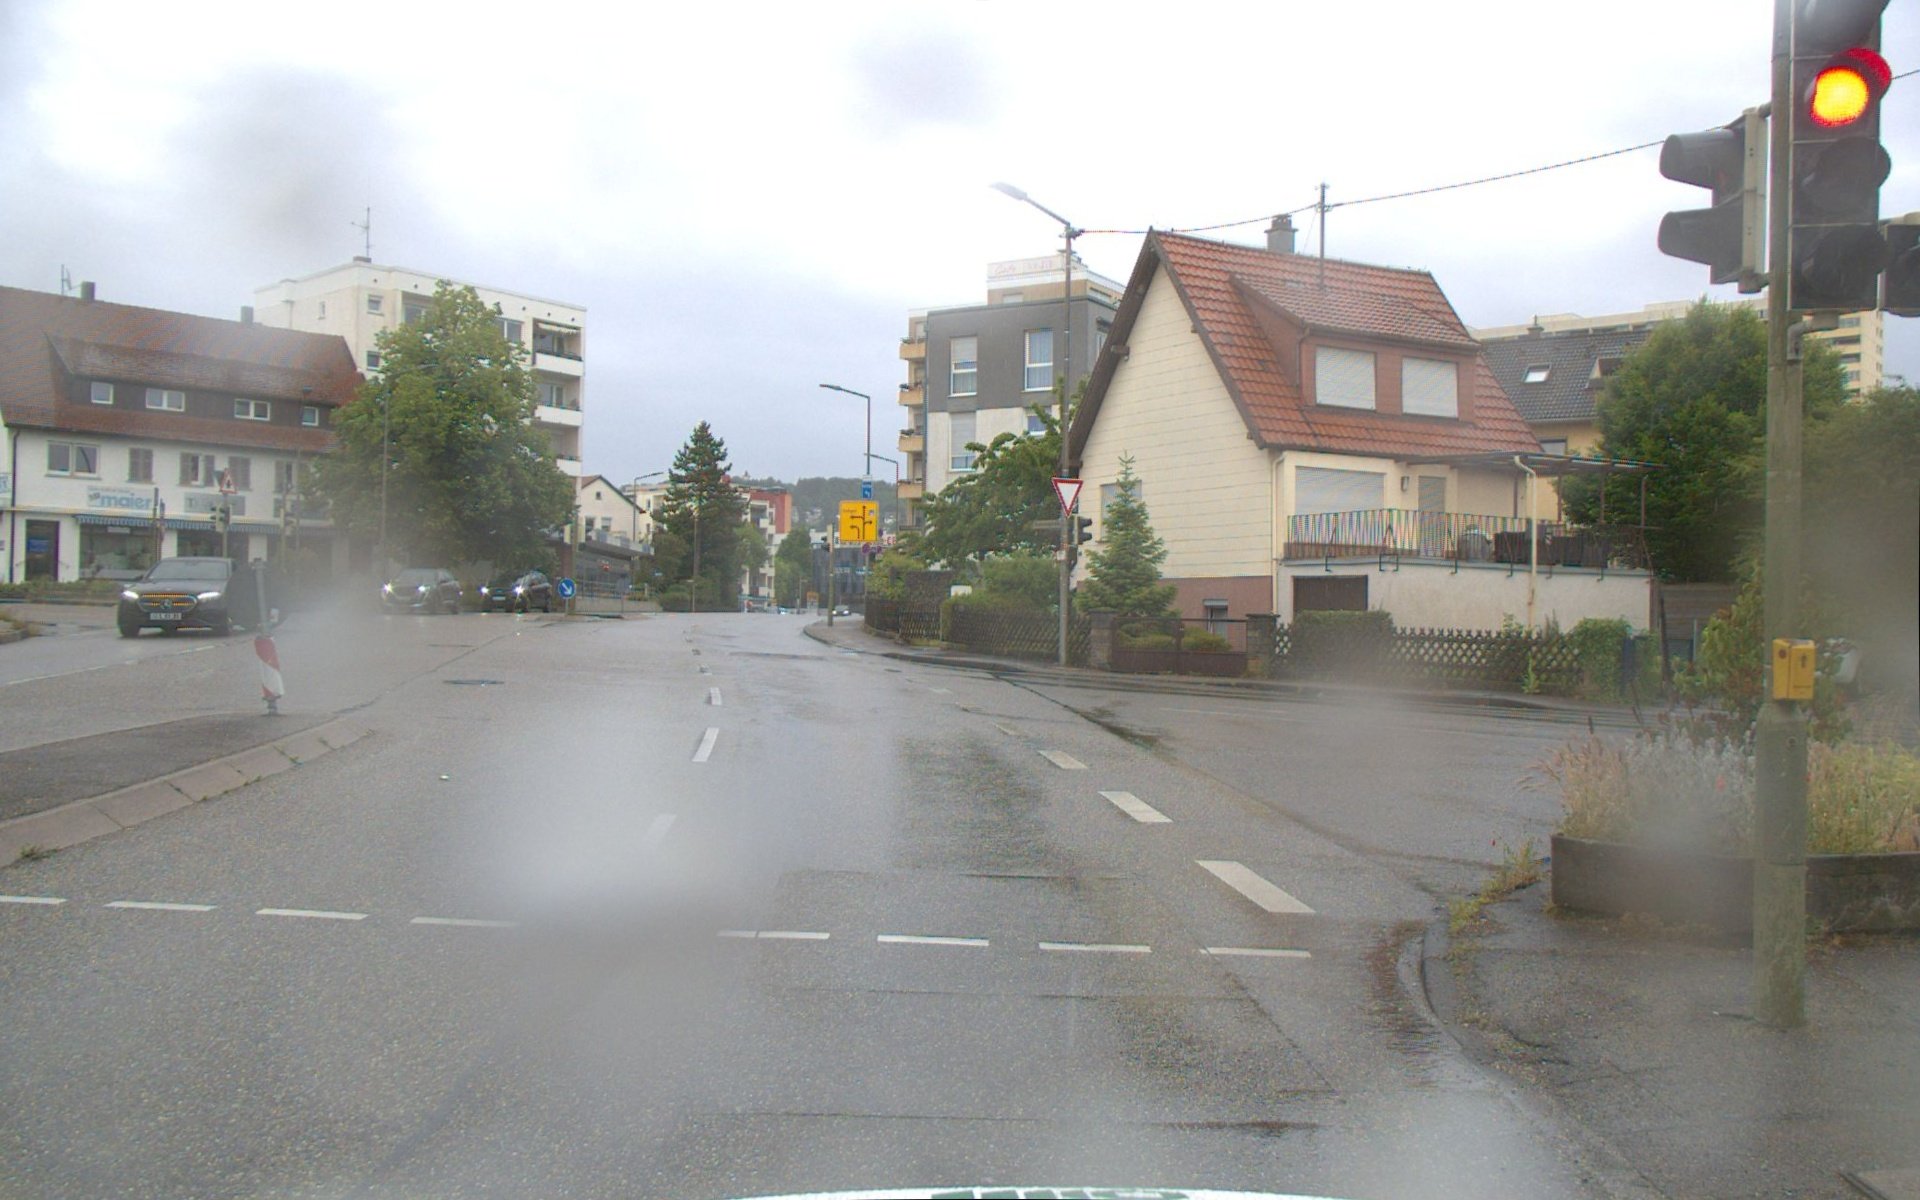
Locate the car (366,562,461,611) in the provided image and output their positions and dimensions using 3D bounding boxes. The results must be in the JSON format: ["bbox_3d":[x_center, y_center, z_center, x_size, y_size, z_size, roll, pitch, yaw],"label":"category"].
[{"bbox_3d":[-18.109,-0.422,55.004,1.927,1.538,3.998,1,0,-2],"label":"car"}]

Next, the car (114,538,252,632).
[{"bbox_3d":[-14.995,-0.265,31.788,1.973,1.653,4.492,1,0,-31],"label":"car"}]

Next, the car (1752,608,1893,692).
[{"bbox_3d":[15.626,0.861,29.871,1.780,1.386,3.986,1,0,35],"label":"car"}]

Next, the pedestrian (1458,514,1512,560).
[{"bbox_3d":[11.156,-1.339,35.172,0.902,0.898,0.632,1,-2,-20],"label":"pedestrian"}]

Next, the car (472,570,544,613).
[{"bbox_3d":[-17.949,-0.318,65.881,1.841,1.625,4.182,1,0,-2],"label":"car"}]
